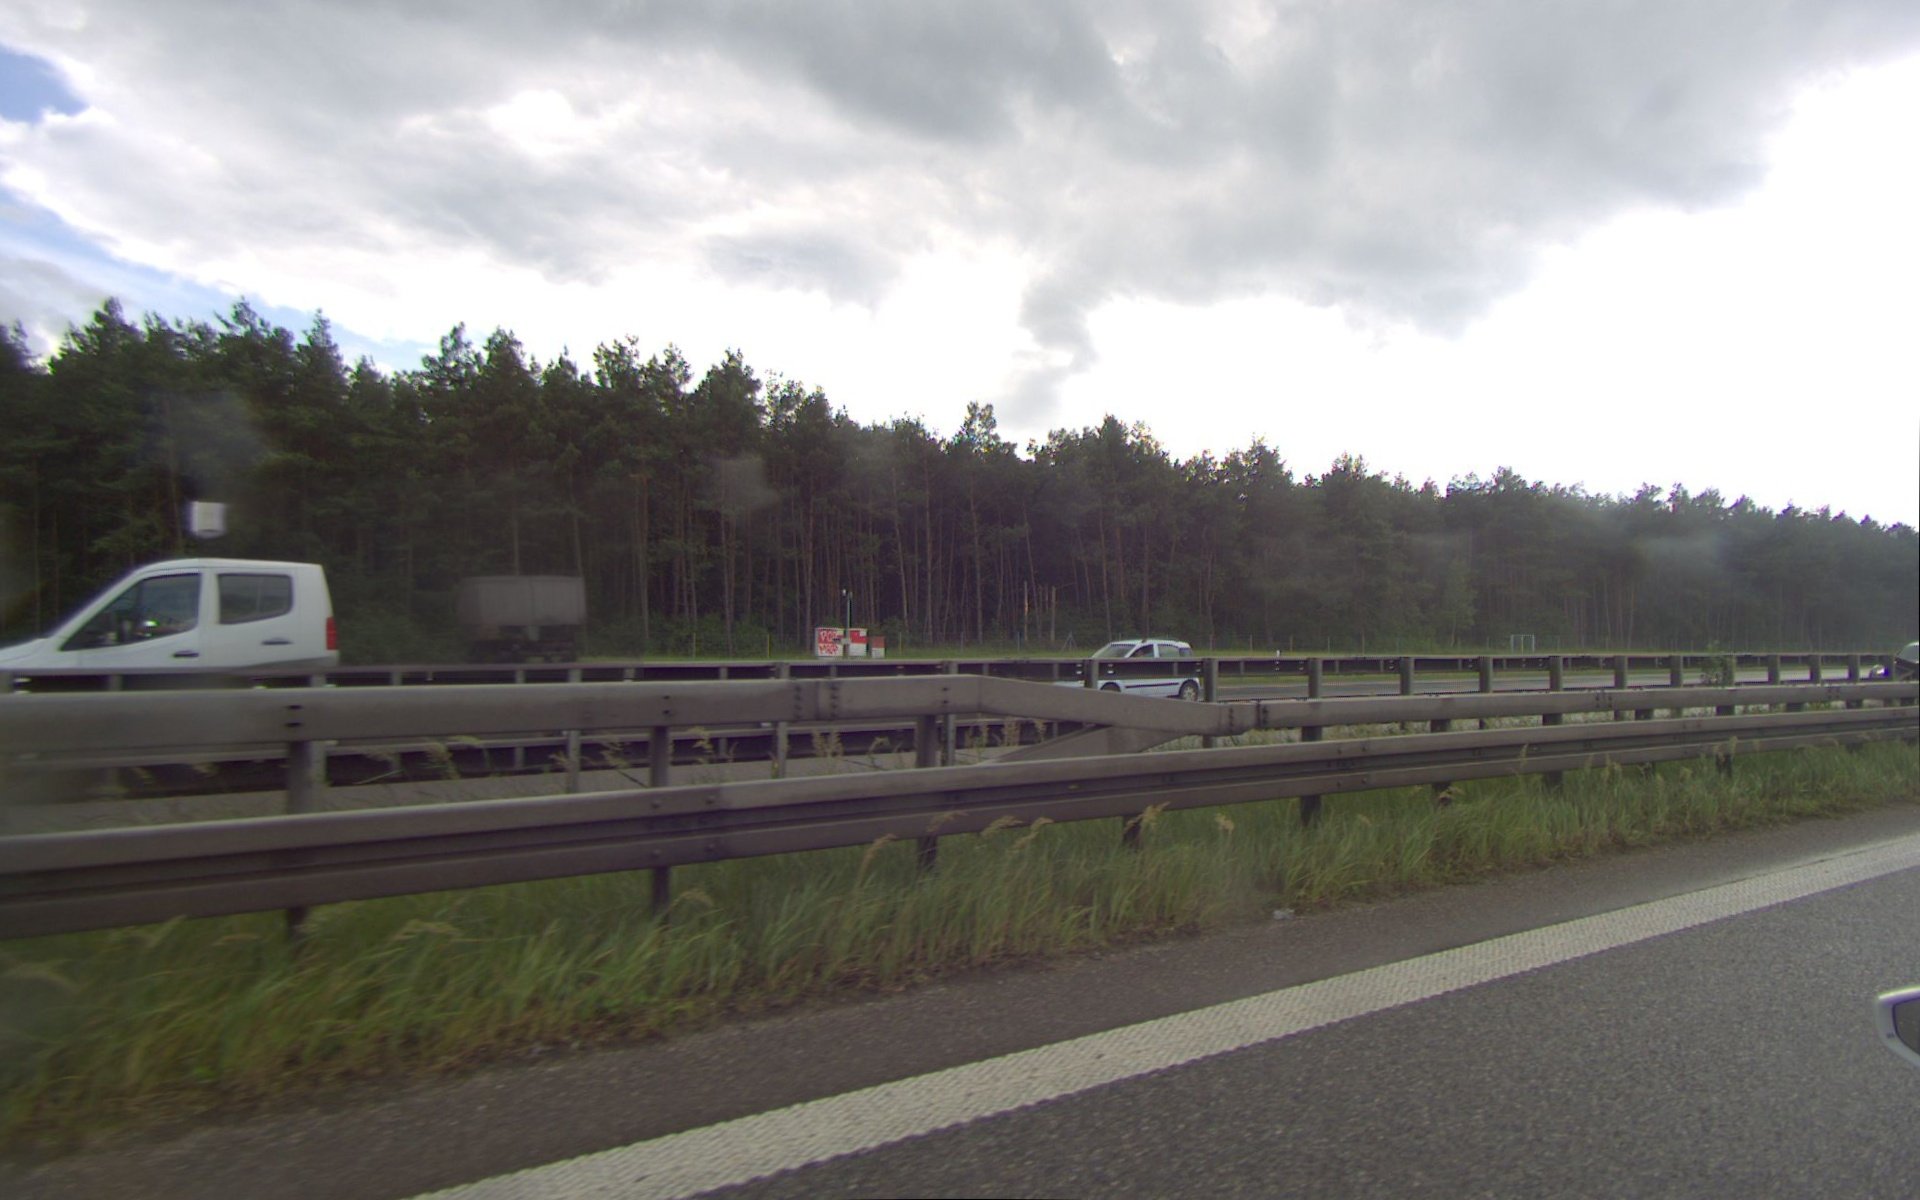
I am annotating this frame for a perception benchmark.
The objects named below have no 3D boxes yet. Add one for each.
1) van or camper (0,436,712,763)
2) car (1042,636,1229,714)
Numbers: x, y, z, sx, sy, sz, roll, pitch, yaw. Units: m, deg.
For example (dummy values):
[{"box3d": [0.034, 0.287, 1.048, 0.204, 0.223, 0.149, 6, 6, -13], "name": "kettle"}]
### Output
[{"box3d": [-7.006, 0.073, 12.182, 7.447, 3.154, 2.292, 1, -2, -28], "name": "van or camper"}, {"box3d": [4.050, 1.659, 22.997, 4.107, 1.617, 1.715, 1, -1, -31], "name": "car"}]
